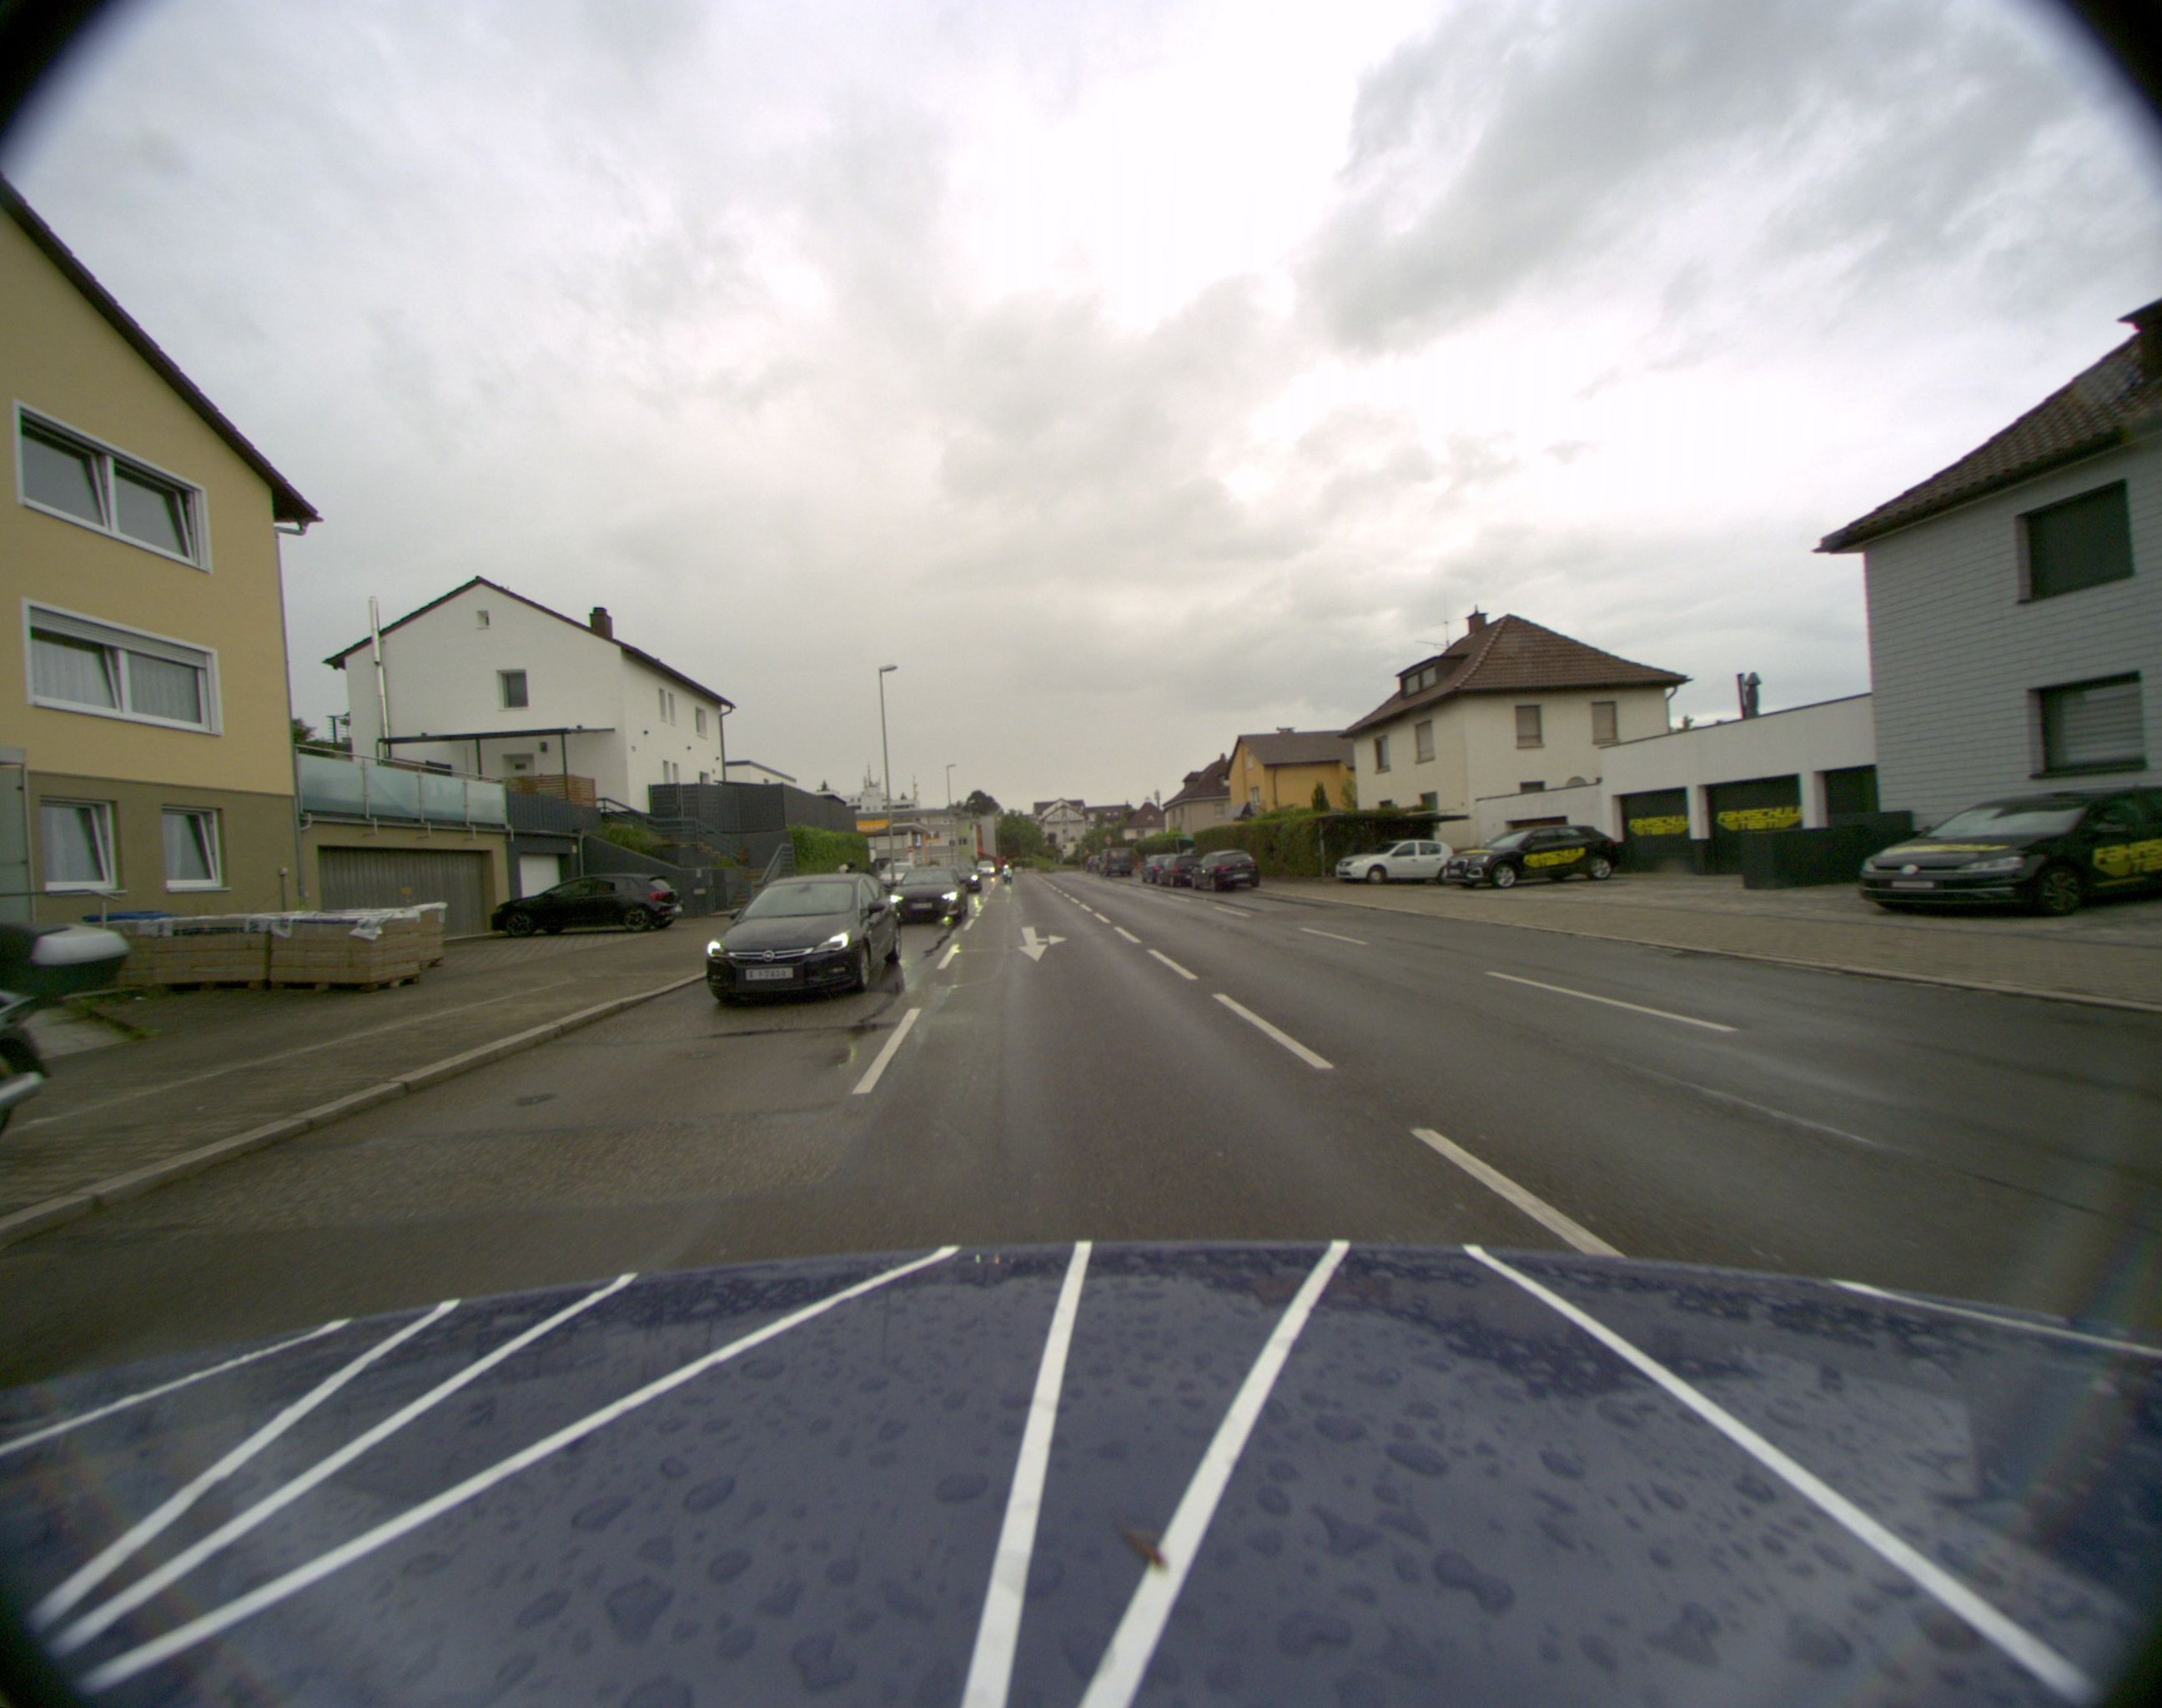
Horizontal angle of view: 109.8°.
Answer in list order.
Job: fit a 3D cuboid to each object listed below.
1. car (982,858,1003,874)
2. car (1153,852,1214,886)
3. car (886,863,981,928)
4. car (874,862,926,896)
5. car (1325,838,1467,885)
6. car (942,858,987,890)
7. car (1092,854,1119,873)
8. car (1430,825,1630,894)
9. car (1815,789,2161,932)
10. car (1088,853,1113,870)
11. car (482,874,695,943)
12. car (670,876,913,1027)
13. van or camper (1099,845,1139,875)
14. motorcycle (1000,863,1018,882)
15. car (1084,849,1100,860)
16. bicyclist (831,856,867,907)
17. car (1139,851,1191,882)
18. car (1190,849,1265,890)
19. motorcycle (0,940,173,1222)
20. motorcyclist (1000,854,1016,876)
[{"bbox_3d":[-8.437,1.171,72.537,1.841,1.472,3.998,-2,-1,-6],"label":"car"},{"bbox_3d":[4.646,0.638,34.976,1.810,1.407,3.997,-2,0,-7],"label":"car"},{"bbox_3d":[-3.985,1.065,21.332,1.911,1.390,4.854,-3,1,-3],"label":"car"},{"bbox_3d":[-8.881,1.179,37.573,1.737,1.481,3.998,-2,0,-3],"label":"car"},{"bbox_3d":[10.653,0.276,25.828,4.113,1.475,1.839,1,-1,-11],"label":"car"},{"bbox_3d":[-5.878,1.060,38.653,1.841,1.447,4.001,-2,-4,-4],"label":"car"},{"bbox_3d":[2.085,0.783,65.842,1.889,1.477,3.998,-2,0,-3],"label":"car"},{"bbox_3d":[11.687,0.126,19.963,4.110,1.412,1.883,-4,1,-4],"label":"car"},{"bbox_3d":[12.451,0.024,9.905,3.998,1.412,1.883,-5,1,-4],"label":"car"},{"bbox_3d":[1.757,0.667,70.290,1.889,1.477,3.998,-2,0,-5],"label":"car"},{"bbox_3d":[-11.945,1.284,18.691,4.000,1.395,1.672,-2,0,-11],"label":"car"},{"bbox_3d":[-3.551,1.104,10.185,1.841,1.390,3.998,-2,1,-3],"label":"car"},{"bbox_3d":[2.735,0.366,55.691,2.190,2.002,5.131,-3,1,-5],"label":"van or camper"},{"bbox_3d":[-4.808,1.221,50.865,0.944,1.101,2.405,-3,1,-2],"label":"motorcycle"},{"bbox_3d":[1.632,0.040,110.872,1.999,1.565,3.998,-3,1,-3],"label":"car"},{"bbox_3d":[-7.663,0.902,25.146,0.809,1.633,0.906,-2,1,5],"label":"bicyclist"},{"bbox_3d":[4.389,0.640,40.247,1.810,1.505,3.997,-2,0,-7],"label":"car"},{"bbox_3d":[5.515,0.558,29.086,1.810,1.407,3.998,-2,0,-3],"label":"car"},{"bbox_3d":[-5.697,1.182,3.276,0.694,1.317,2.478,-2,0,-5],"label":"motorcycle"},{"bbox_3d":[-4.855,0.749,50.627,0.953,1.413,0.993,-3,1,-2],"label":"motorcyclist"}]
